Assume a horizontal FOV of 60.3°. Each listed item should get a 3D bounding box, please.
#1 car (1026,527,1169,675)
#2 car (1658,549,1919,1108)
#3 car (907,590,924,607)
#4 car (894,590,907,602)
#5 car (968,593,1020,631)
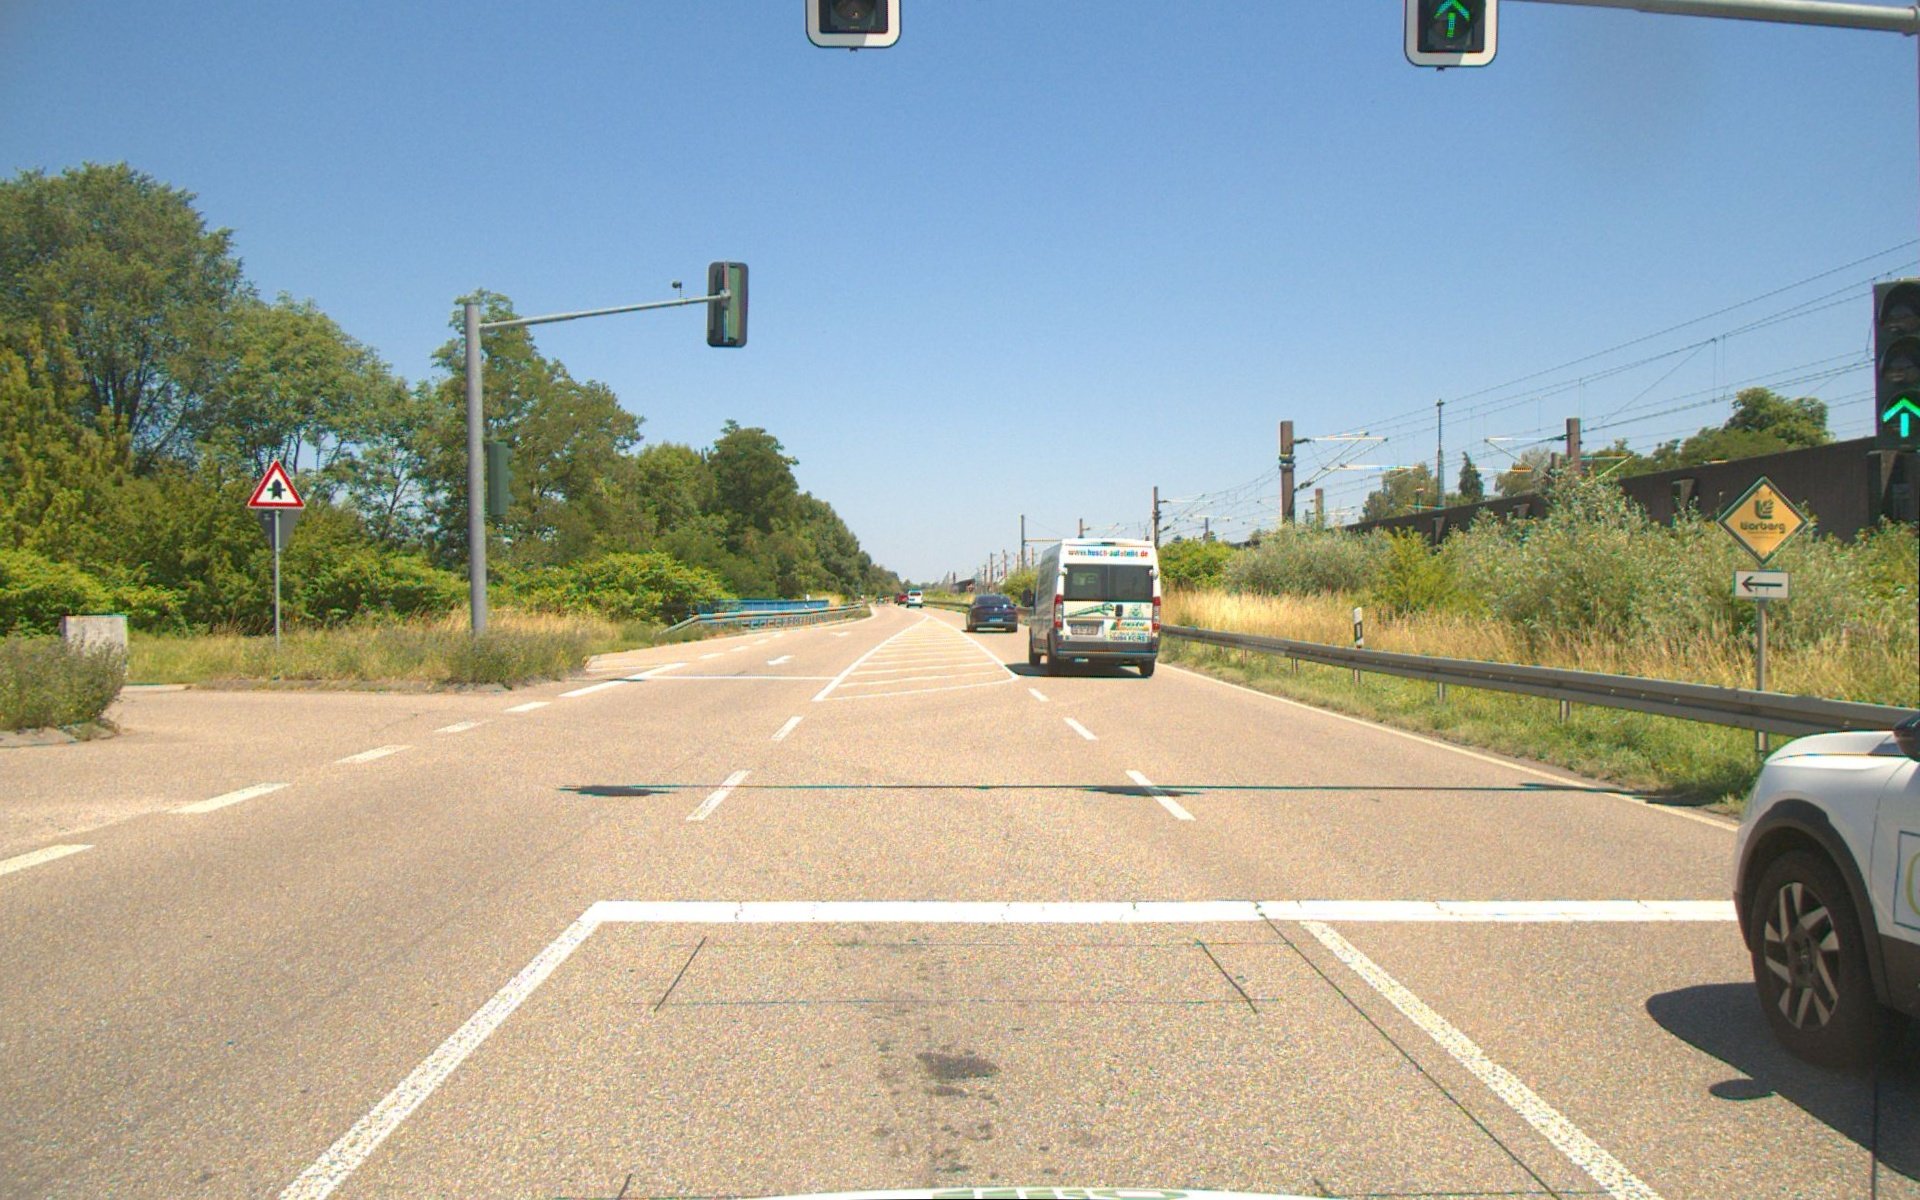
[{"bbox_3d":[2.605,-0.008,33.148,2.144,2.649,6.749,1,0,-1],"label":"car"},{"bbox_3d":[3.656,0.657,4.193,1.782,1.591,4.276,0,0,-3],"label":"car"},{"bbox_3d":[-5.188,-0.181,193.100,1.953,2.018,4.058,1,0,-3],"label":"car"},{"bbox_3d":[-8.808,-0.545,244.862,1.979,1.756,4.540,0,0,-3],"label":"car"},{"bbox_3d":[1.274,0.445,64.018,1.819,1.404,4.502,1,0,-1],"label":"car"}]
